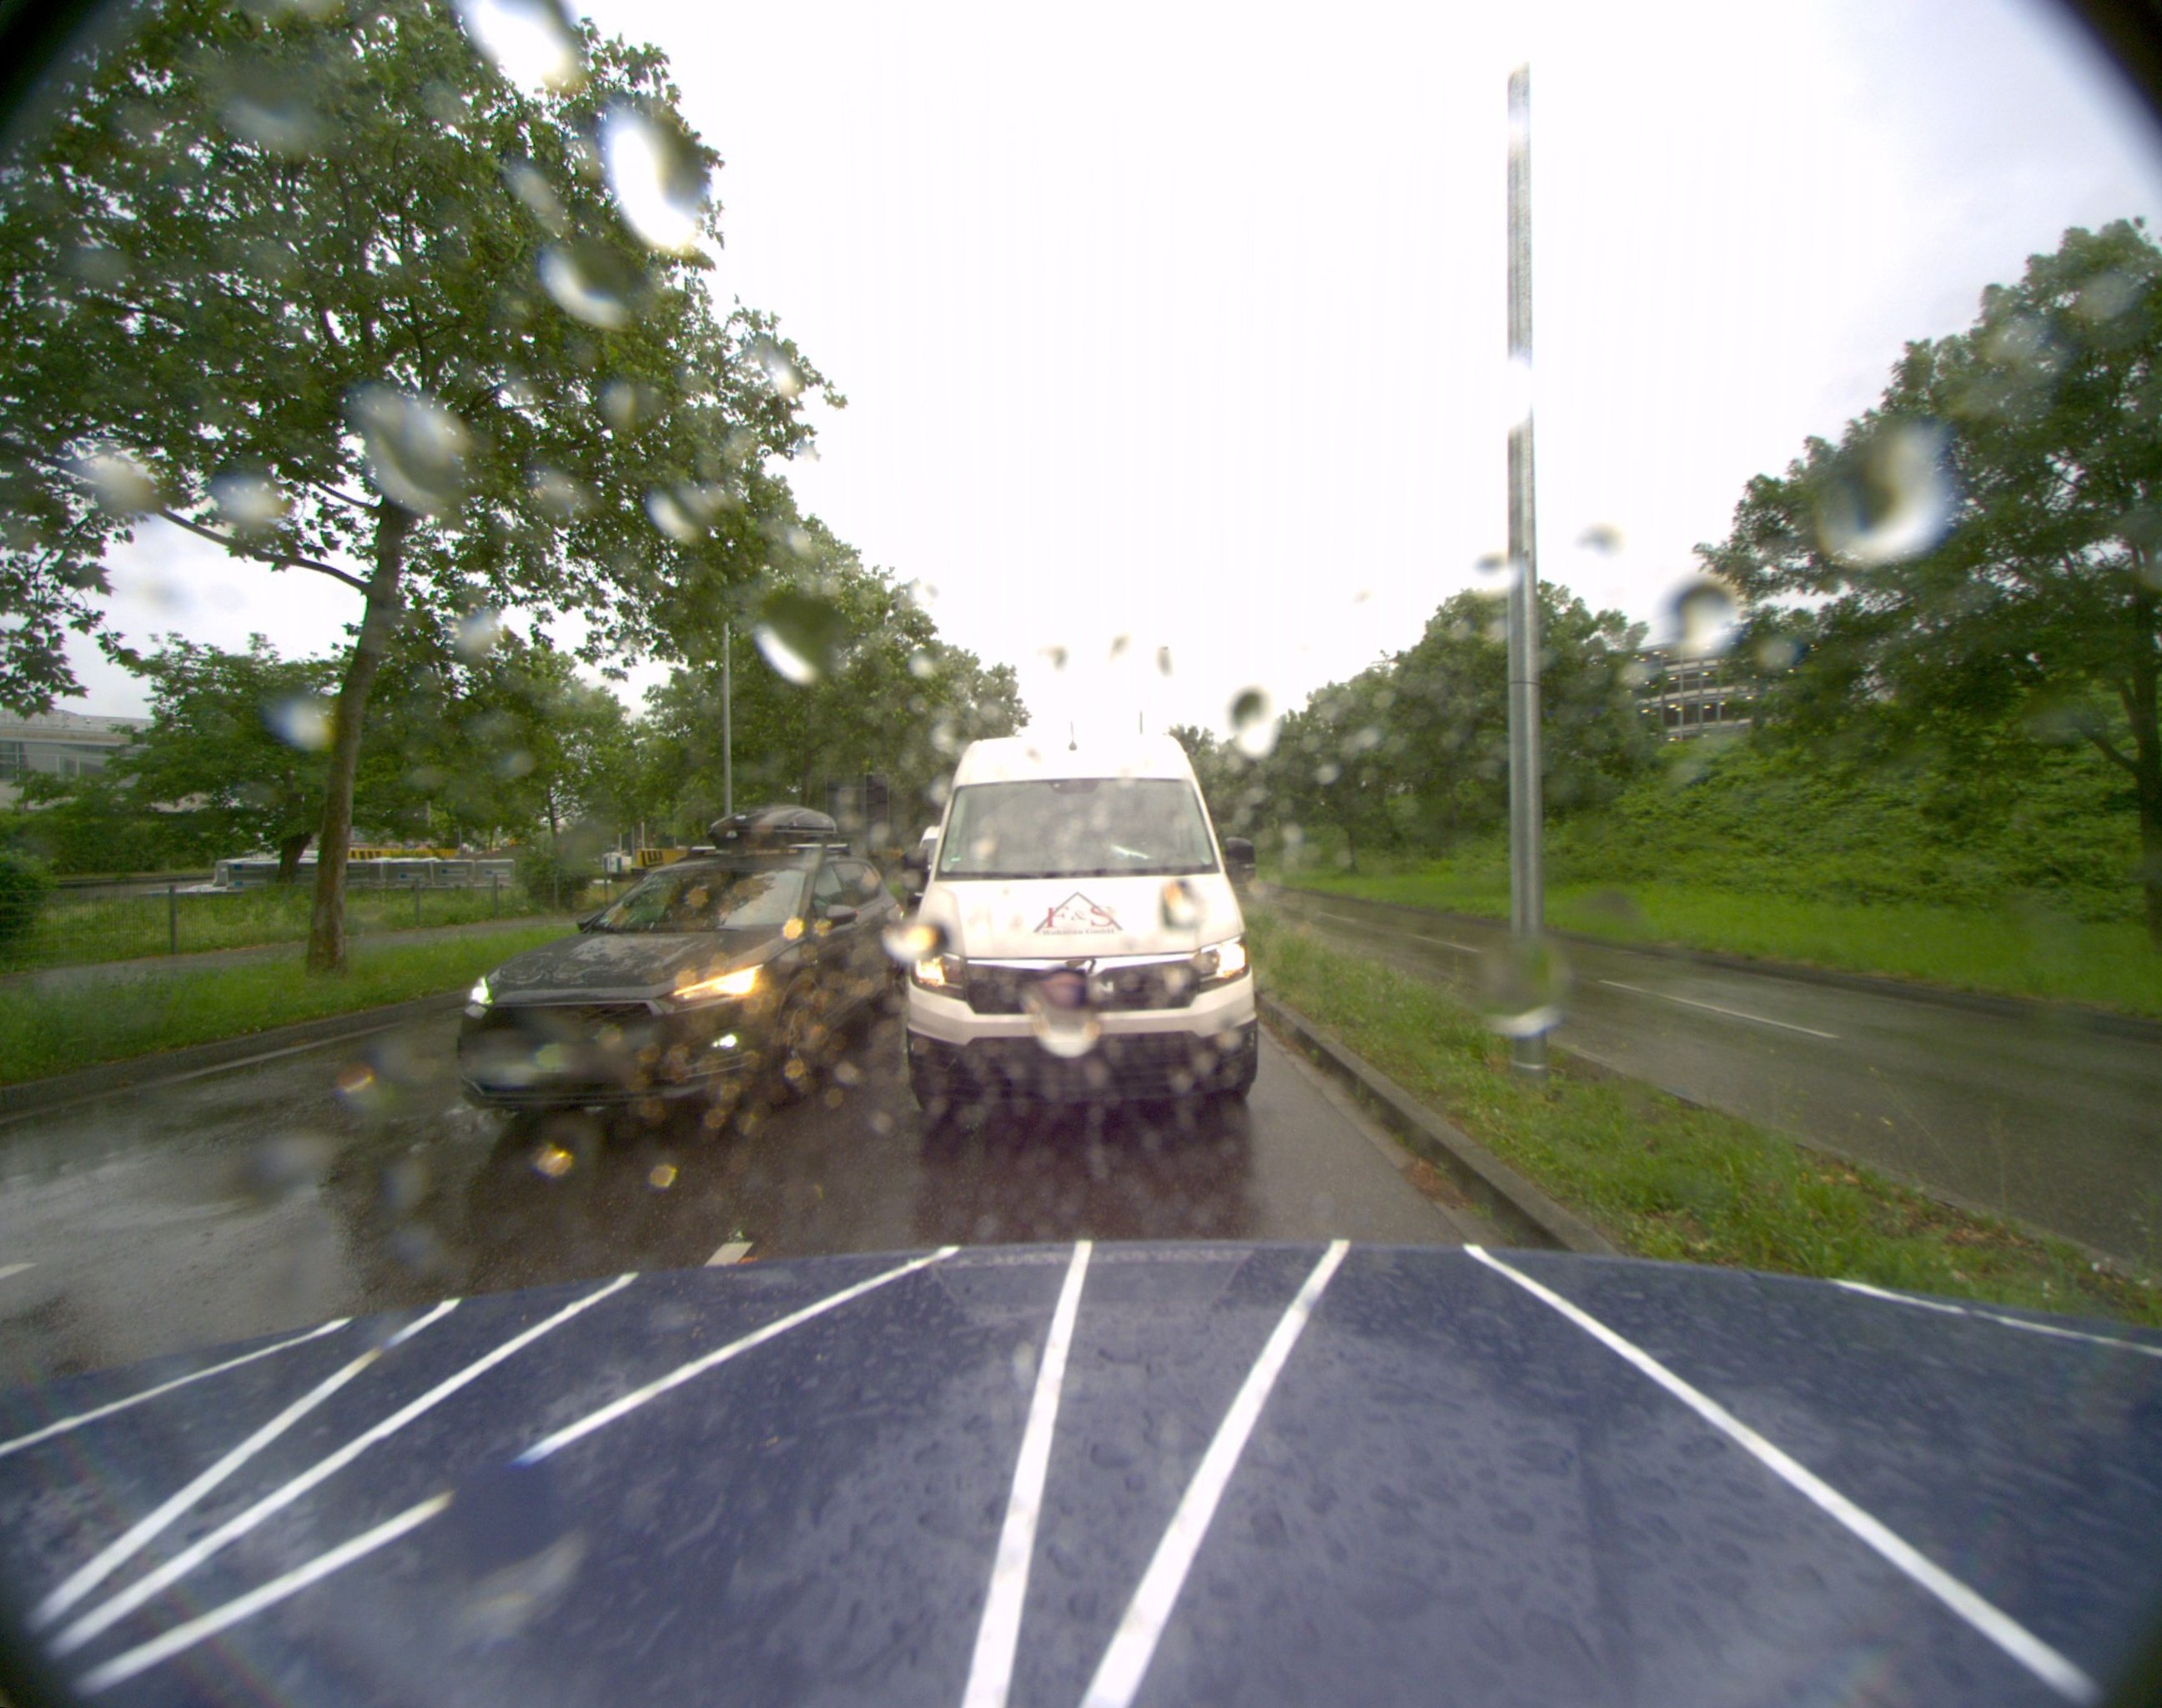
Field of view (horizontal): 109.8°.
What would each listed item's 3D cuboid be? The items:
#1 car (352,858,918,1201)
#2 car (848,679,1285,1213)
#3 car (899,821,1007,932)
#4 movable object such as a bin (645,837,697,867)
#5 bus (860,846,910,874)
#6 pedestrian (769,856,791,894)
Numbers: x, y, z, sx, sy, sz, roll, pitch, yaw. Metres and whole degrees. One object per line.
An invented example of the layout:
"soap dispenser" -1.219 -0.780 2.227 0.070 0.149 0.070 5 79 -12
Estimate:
"car" -2.748 0.912 6.093 1.894 1.688 4.423 -1 0 0
"car" -0.112 0.427 6.453 2.027 2.498 5.695 -1 0 -1
"car" -3.097 0.485 19.549 1.894 2.432 5.317 -1 0 -1
"movable object such as a bin" -48.246 -0.266 89.550 1.913 3.415 4.947 -1 1 37
"bus" -19.147 0.565 74.384 4.370 2.553 1.711 -2 1 0
"pedestrian" -13.852 0.941 34.942 0.646 1.707 0.656 -2 1 1
